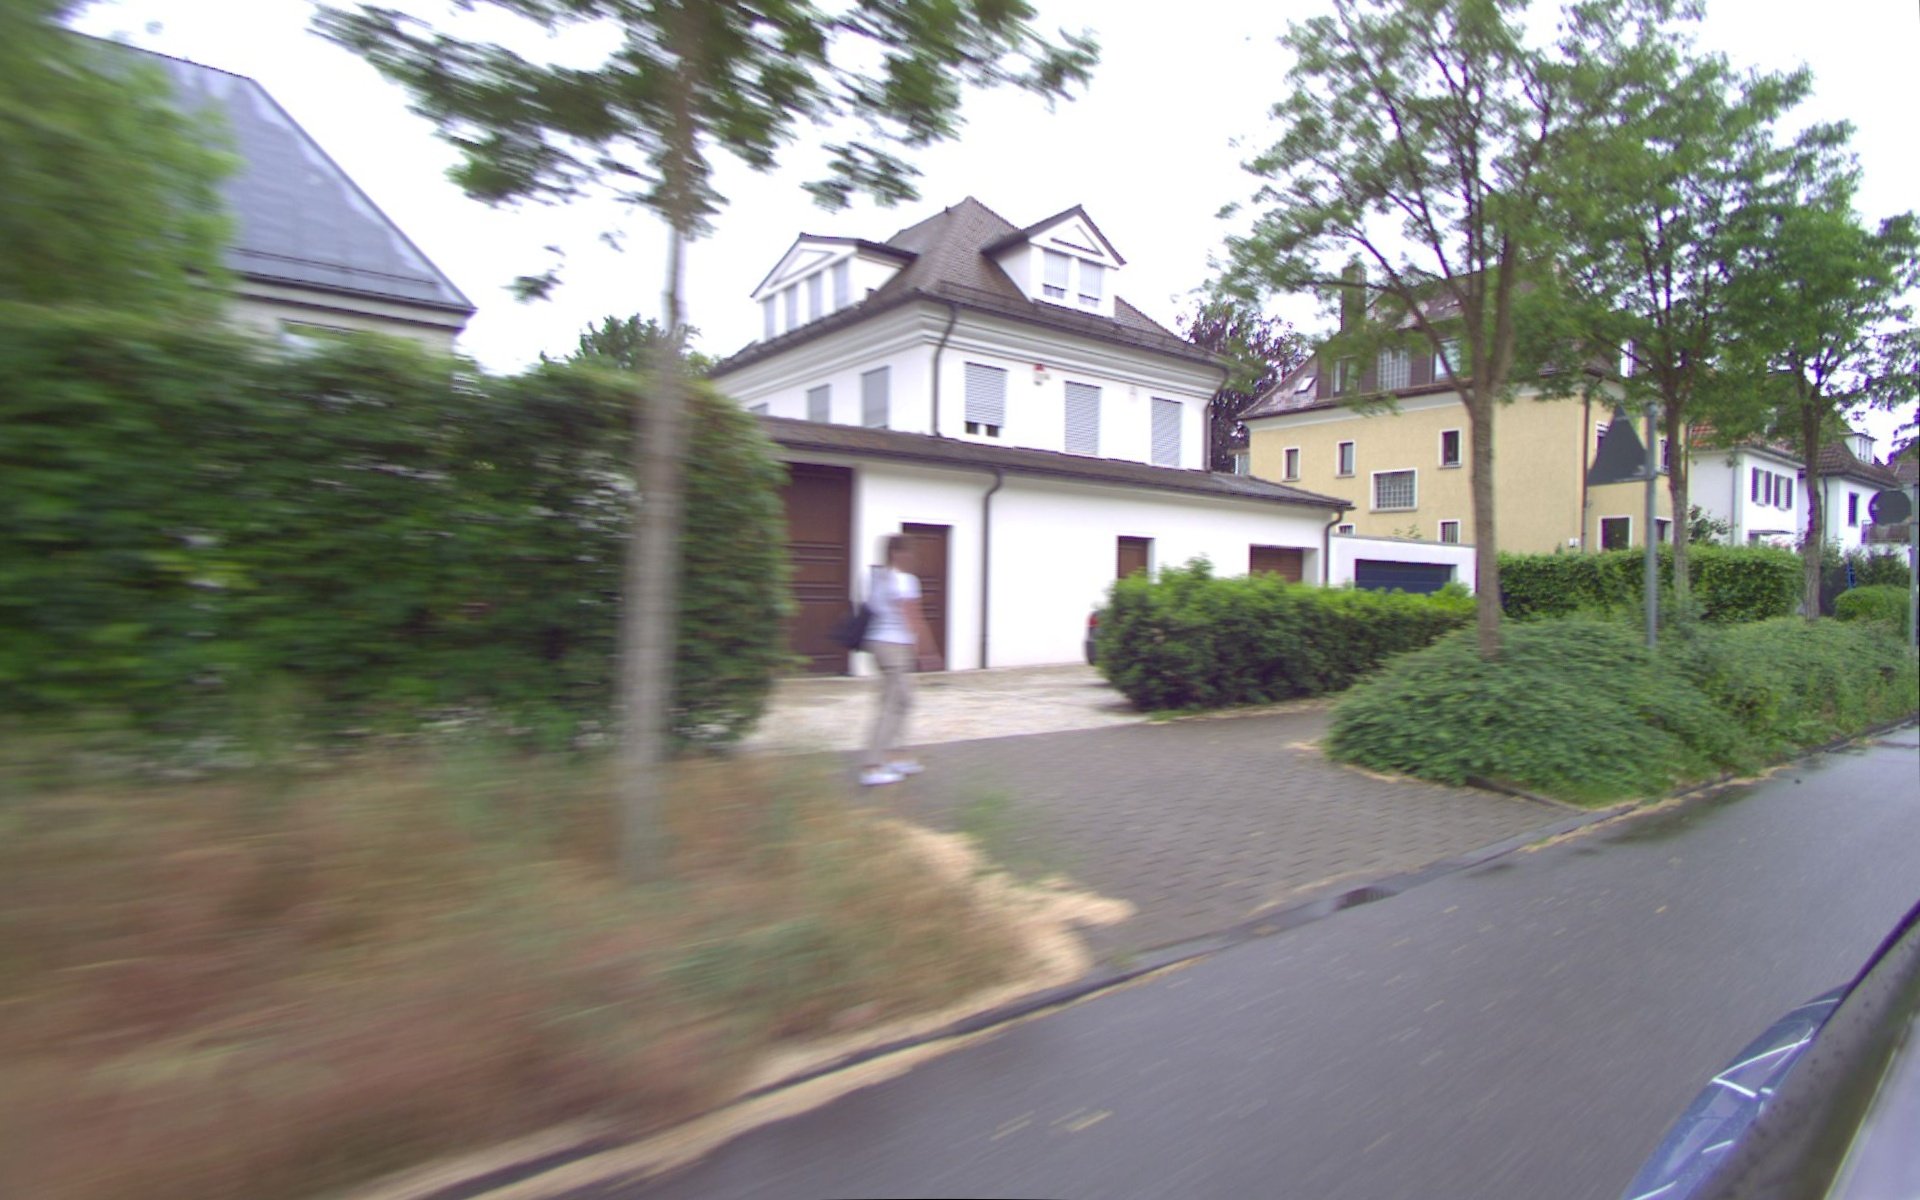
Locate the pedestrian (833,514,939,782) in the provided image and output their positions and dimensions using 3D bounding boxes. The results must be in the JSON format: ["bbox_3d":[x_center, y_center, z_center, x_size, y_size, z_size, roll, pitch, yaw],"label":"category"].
[{"bbox_3d":[-0.511,0.305,6.908,0.506,1.730,0.564,1,1,-30],"label":"pedestrian"}]
